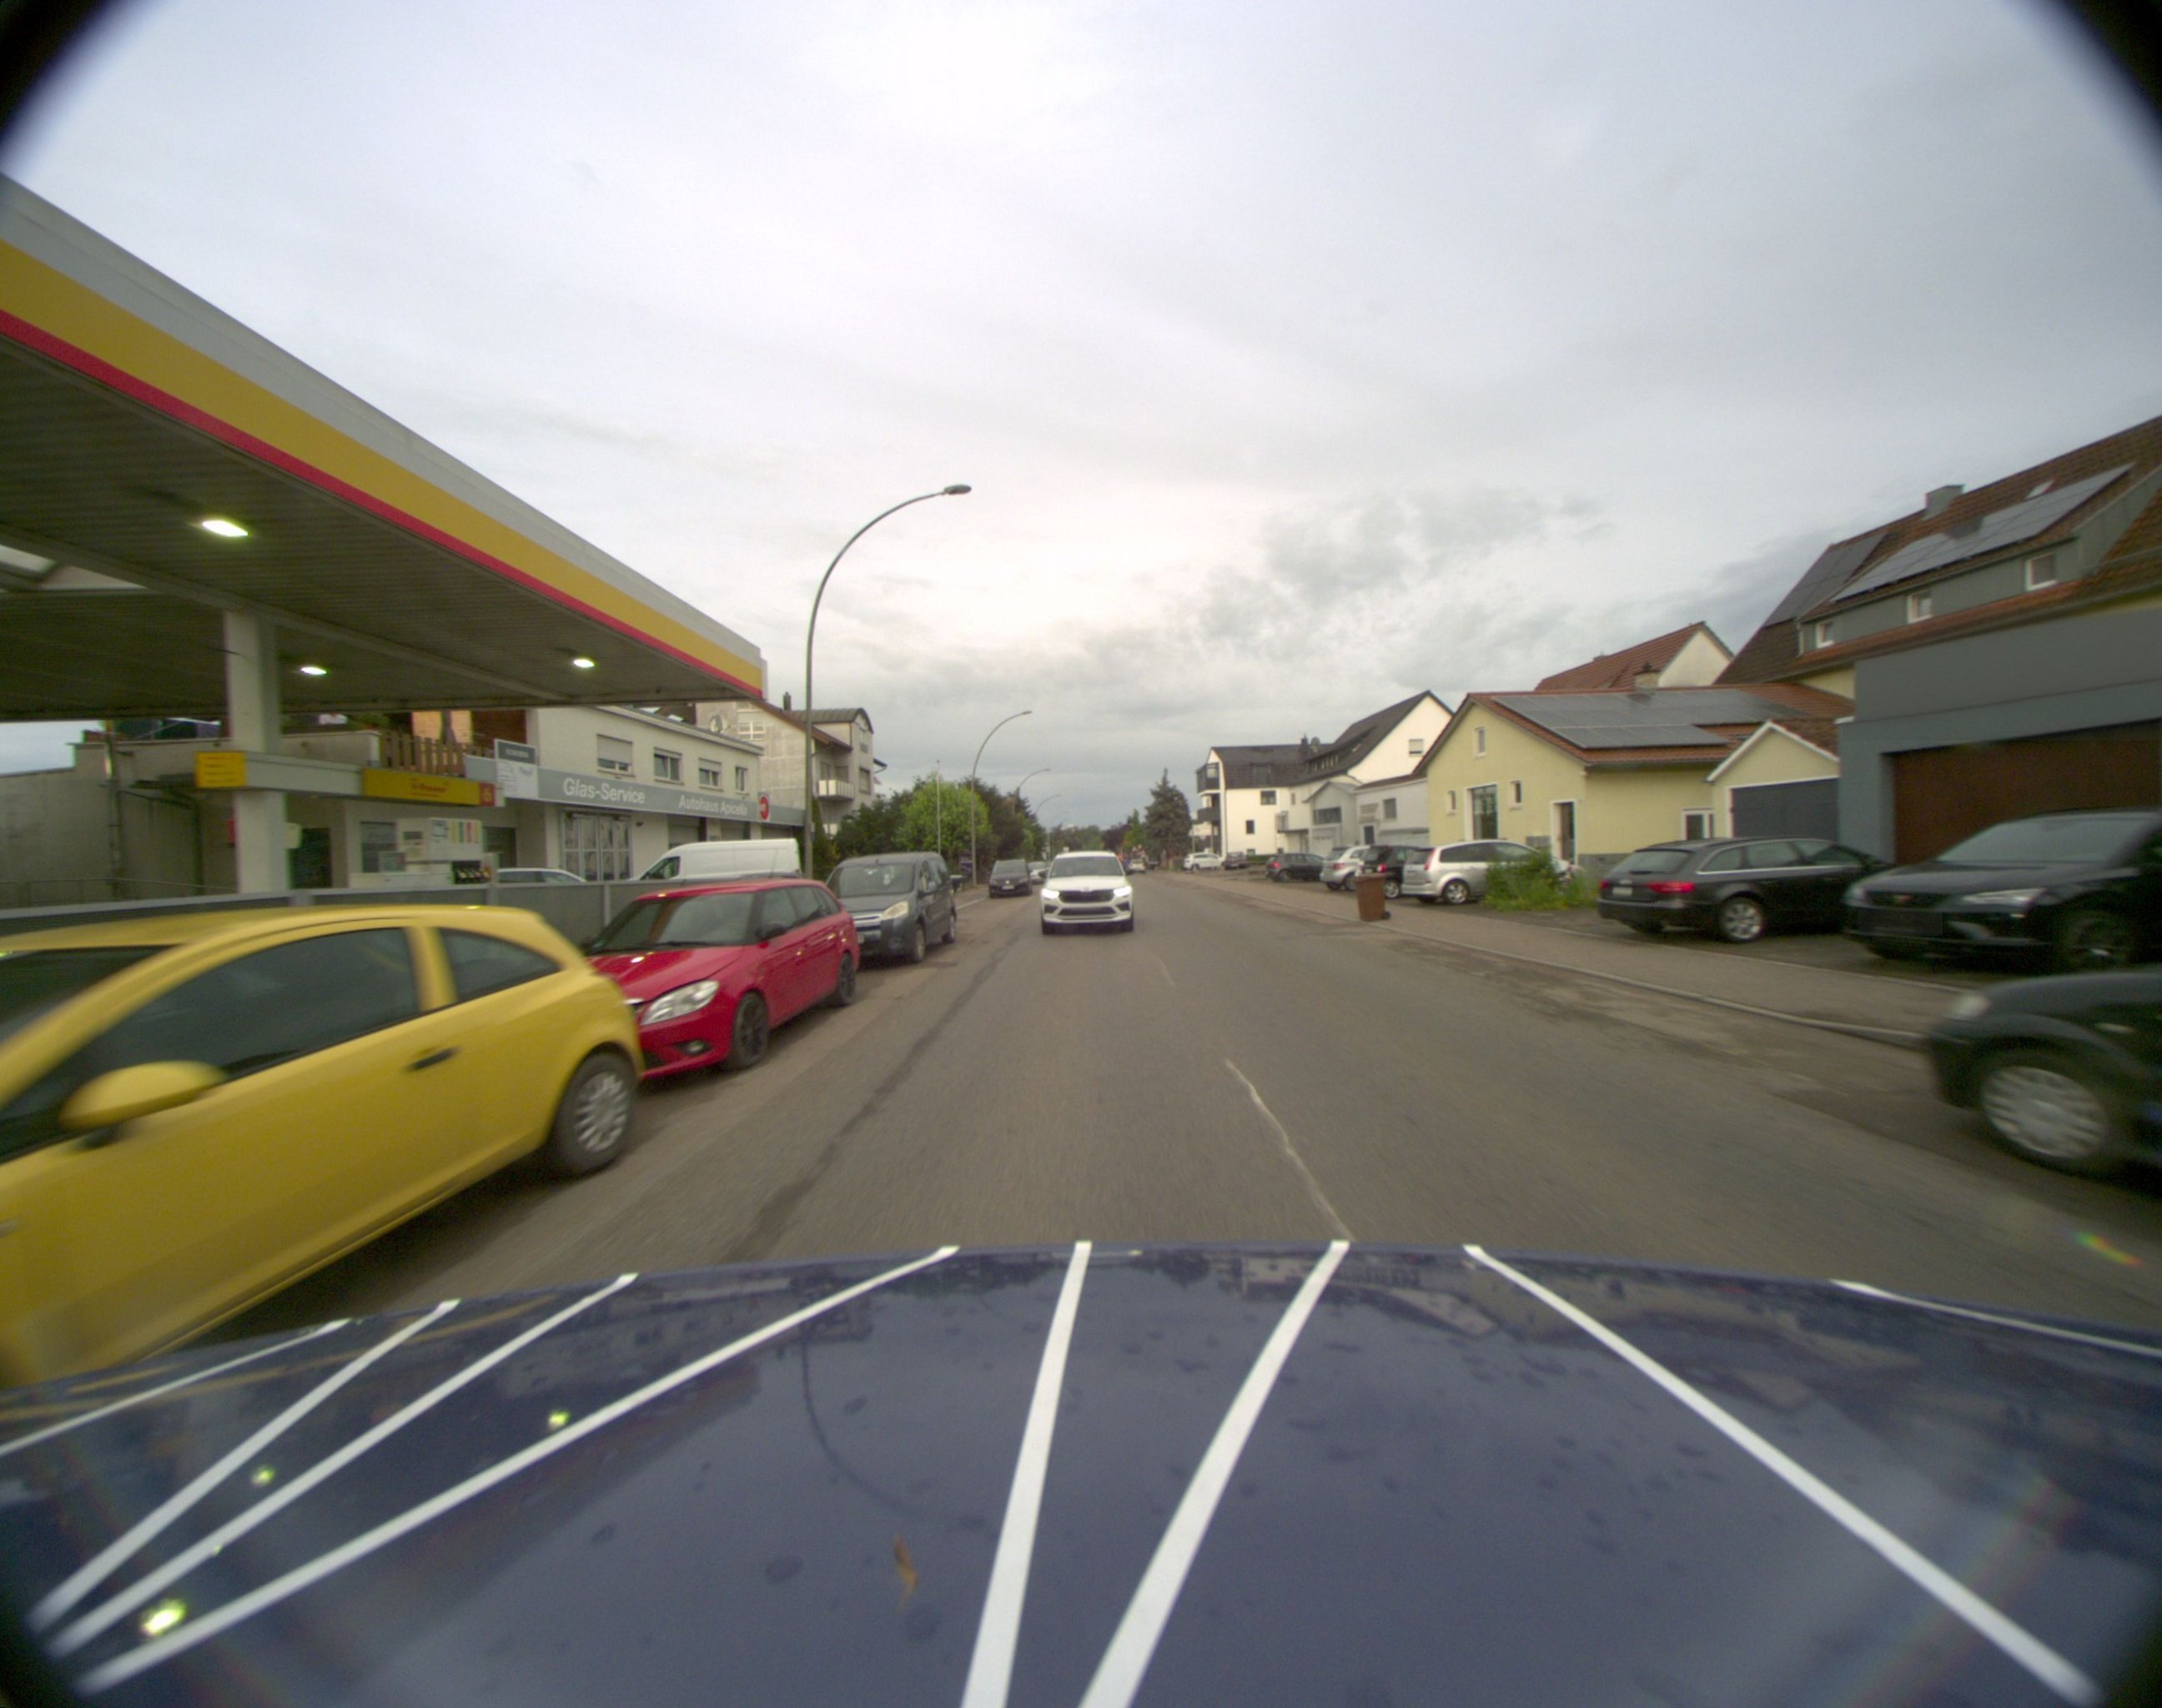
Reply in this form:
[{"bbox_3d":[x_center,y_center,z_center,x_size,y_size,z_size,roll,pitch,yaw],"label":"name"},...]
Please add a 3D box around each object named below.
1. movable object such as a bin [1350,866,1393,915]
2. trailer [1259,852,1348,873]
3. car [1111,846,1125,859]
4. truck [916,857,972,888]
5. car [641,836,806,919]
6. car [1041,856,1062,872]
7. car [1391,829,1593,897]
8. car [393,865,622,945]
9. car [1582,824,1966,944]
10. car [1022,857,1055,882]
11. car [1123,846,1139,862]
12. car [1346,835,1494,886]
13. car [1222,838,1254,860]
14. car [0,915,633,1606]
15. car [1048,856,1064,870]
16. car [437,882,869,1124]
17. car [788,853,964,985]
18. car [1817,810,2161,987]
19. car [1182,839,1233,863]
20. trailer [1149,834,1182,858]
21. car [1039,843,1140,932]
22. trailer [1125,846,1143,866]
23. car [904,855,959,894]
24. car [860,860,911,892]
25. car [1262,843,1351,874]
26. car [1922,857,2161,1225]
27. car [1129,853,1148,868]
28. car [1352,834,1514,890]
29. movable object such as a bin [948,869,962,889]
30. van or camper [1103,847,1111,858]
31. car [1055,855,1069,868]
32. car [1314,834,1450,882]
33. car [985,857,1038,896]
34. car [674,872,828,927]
[{"bbox_3d":[6.612,0.822,17.326,0.597,1.051,0.687,-7,-1,1],"label":"movable object such as a bin"},{"bbox_3d":[11.906,0.434,40.830,4.208,0.937,1.794,-2,0,-2],"label":"trailer"},{"bbox_3d":[6.737,-0.193,137.359,2.264,2.275,4.531,0,0,0],"label":"car"},{"bbox_3d":[-7.224,0.964,40.095,2.560,1.521,1.327,-2,1,8],"label":"truck"},{"bbox_3d":[-11.973,0.721,25.835,4.809,2.506,2.244,-2,0,-21],"label":"car"},{"bbox_3d":[-2.667,0.903,69.385,1.756,1.410,4.110,-1,0,1],"label":"car"},{"bbox_3d":[10.311,0.207,19.266,4.095,1.505,1.883,-2,0,-3],"label":"car"},{"bbox_3d":[-14.590,1.211,19.498,1.994,1.631,4.370,-2,1,44],"label":"car"},{"bbox_3d":[9.913,0.401,11.077,4.095,1.405,1.713,-3,0,-2],"label":"car"},{"bbox_3d":[-2.810,1.023,50.737,1.741,1.493,3.882,-4,0,2],"label":"car"},{"bbox_3d":[6.991,0.057,105.908,1.998,2.112,4.755,-1,0,2],"label":"car"},{"bbox_3d":[11.218,0.201,25.332,4.095,1.524,1.813,-2,0,-3],"label":"car"},{"bbox_3d":[12.826,-0.439,62.377,1.824,1.521,4.000,-7,0,3],"label":"car"},{"bbox_3d":[-3.359,1.075,2.315,1.660,1.394,3.801,-2,0,0],"label":"car"},{"bbox_3d":[-2.581,0.923,78.830,1.657,1.431,4.043,-1,0,-2],"label":"car"},{"bbox_3d":[-3.399,1.066,7.052,1.660,1.368,4.024,-2,0,0],"label":"car"},{"bbox_3d":[-3.241,0.925,12.973,1.660,1.728,4.444,-4,0,0],"label":"car"},{"bbox_3d":[10.127,0.350,7.767,3.595,1.448,1.756,-4,1,-4],"label":"car"},{"bbox_3d":[11.195,-0.259,67.494,3.997,1.637,2.000,-6,0,-1],"label":"car"},{"bbox_3d":[11.433,-1.058,103.152,4.059,3.029,2.168,-3,1,0],"label":"trailer"},{"bbox_3d":[0.183,0.646,16.879,1.884,1.650,4.831,-1,0,1],"label":"car"},{"bbox_3d":[6.119,0.224,87.879,1.721,2.114,4.006,-3,1,1],"label":"trailer"},{"bbox_3d":[-7.076,0.924,36.302,1.999,1.673,3.998,-2,0,-4],"label":"car"},{"bbox_3d":[-9.776,1.075,38.216,1.752,1.510,3.731,1,0,-3],"label":"car"},{"bbox_3d":[11.238,0.209,38.040,3.883,1.430,1.768,-1,0,0],"label":"car"},{"bbox_3d":[5.239,0.782,2.163,1.612,1.497,3.707,-1,0,1],"label":"car"},{"bbox_3d":[6.113,0.668,81.177,1.740,1.496,3.871,-1,0,1],"label":"car"},{"bbox_3d":[10.621,0.238,23.061,4.096,1.494,1.755,-2,0,-5],"label":"car"},{"bbox_3d":[-6.891,1.355,41.542,0.576,1.069,0.682,-2,1,0],"label":"movable object such as a bin"},{"bbox_3d":[5.758,-0.301,168.881,1.811,2.328,4.000,-2,0,2],"label":"van or camper"},{"bbox_3d":[-2.446,0.966,99.547,1.677,1.455,3.690,-4,0,1],"label":"car"},{"bbox_3d":[10.861,0.139,27.621,4.096,1.523,1.999,-2,0,-5],"label":"car"},{"bbox_3d":[-3.043,0.962,34.039,1.999,1.586,4.000,-1,0,-1],"label":"car"},{"bbox_3d":[-10.197,1.343,23.595,4.007,1.367,1.775,-3,2,-39],"label":"car"}]
